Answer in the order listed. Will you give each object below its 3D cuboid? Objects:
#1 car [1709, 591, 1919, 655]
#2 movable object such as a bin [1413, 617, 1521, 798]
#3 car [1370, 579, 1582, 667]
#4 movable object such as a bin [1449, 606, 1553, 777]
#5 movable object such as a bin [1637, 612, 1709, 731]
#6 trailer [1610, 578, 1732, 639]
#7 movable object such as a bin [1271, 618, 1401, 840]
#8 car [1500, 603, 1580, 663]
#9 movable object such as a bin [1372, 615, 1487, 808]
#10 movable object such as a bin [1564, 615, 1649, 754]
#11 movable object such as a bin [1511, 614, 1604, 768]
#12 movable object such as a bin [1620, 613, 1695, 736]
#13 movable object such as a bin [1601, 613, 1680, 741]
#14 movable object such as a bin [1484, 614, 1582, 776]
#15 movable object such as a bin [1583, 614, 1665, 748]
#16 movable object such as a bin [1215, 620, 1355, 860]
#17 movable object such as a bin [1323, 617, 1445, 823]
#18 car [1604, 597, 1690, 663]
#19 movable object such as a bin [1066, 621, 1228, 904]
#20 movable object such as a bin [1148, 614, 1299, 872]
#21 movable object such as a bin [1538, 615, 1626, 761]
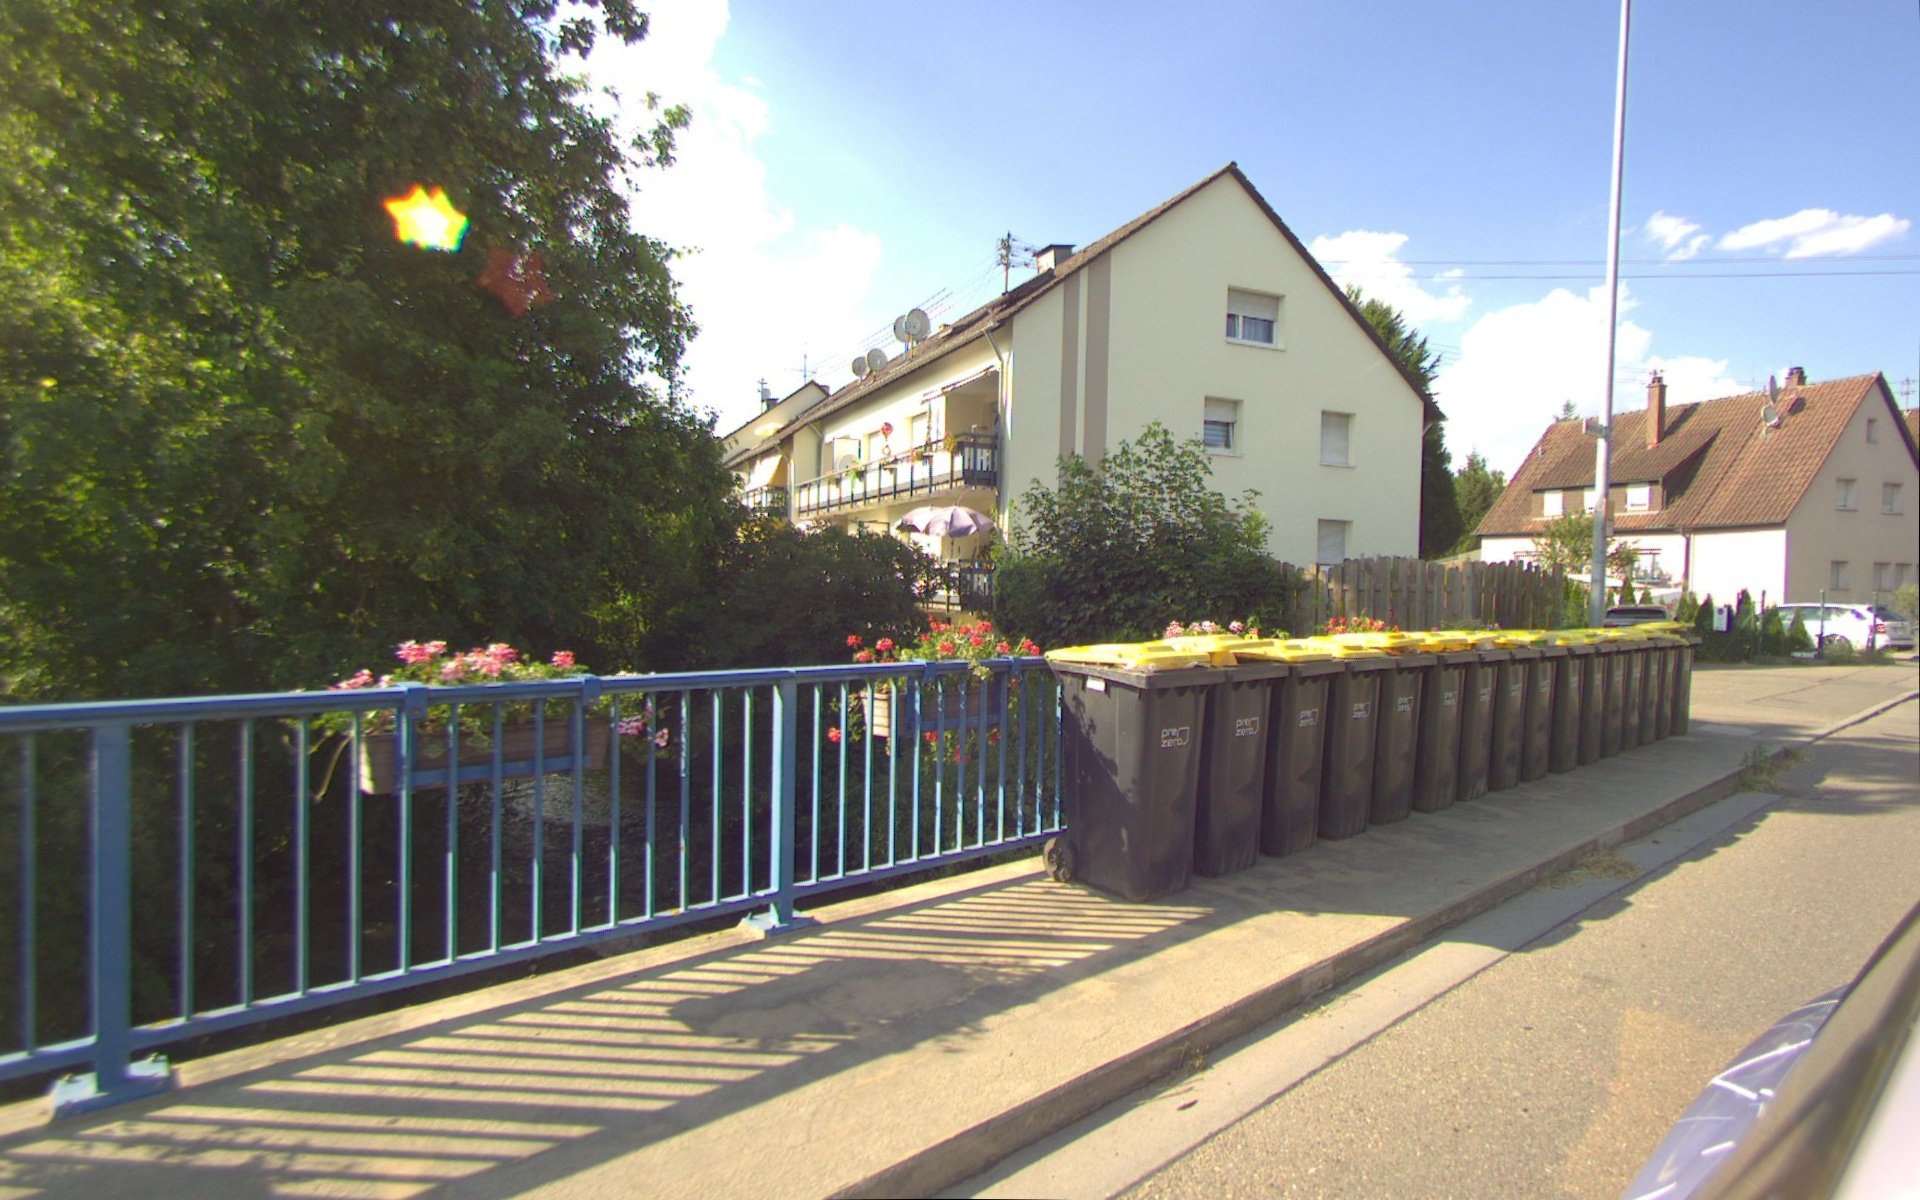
[{"bbox_3d":[23.060,0.550,27.193,1.694,1.476,4.488,0,1,-22],"label":"car"},{"bbox_3d":[3.491,0.709,6.972,0.529,1.157,0.479,0,1,-42],"label":"movable object such as a bin"},{"bbox_3d":[11.772,0.433,23.430,1.730,1.809,4.223,0,1,-23],"label":"car"},{"bbox_3d":[3.938,0.635,7.366,0.555,1.157,0.479,0,1,-42],"label":"movable object such as a bin"},{"bbox_3d":[7.364,0.719,10.454,0.529,1.157,0.479,0,1,-42],"label":"movable object such as a bin"},{"bbox_3d":[22.290,0.263,31.756,3.149,1.774,1.529,1,1,-19],"label":"trailer"},{"bbox_3d":[2.143,0.697,5.768,0.529,1.157,0.479,0,1,-42],"label":"movable object such as a bin"},{"bbox_3d":[16.997,0.905,29.598,1.753,1.564,3.632,0,0,34],"label":"car"},{"bbox_3d":[3.047,0.690,6.562,0.529,1.157,0.479,0,1,-42],"label":"movable object such as a bin"},{"bbox_3d":[5.705,0.721,8.929,0.529,1.157,0.479,0,1,-42],"label":"movable object such as a bin"},{"bbox_3d":[4.812,0.704,8.149,0.529,1.157,0.479,0,1,-42],"label":"movable object such as a bin"},{"bbox_3d":[6.956,0.721,10.095,0.529,1.157,0.479,0,1,-42],"label":"movable object such as a bin"},{"bbox_3d":[6.536,0.716,9.719,0.533,1.157,0.479,0,1,-42],"label":"movable object such as a bin"},{"bbox_3d":[4.393,0.700,7.763,0.529,1.157,0.479,0,1,-42],"label":"movable object such as a bin"},{"bbox_3d":[6.115,0.725,9.318,0.529,1.157,0.479,0,1,-42],"label":"movable object such as a bin"},{"bbox_3d":[1.724,0.700,5.364,0.529,1.157,0.479,0,1,-42],"label":"movable object such as a bin"},{"bbox_3d":[2.588,0.696,6.177,0.529,1.157,0.479,0,1,-42],"label":"movable object such as a bin"},{"bbox_3d":[17.995,0.725,26.436,1.689,1.538,4.221,-2,0,36],"label":"car"},{"bbox_3d":[0.849,0.691,4.610,0.529,1.157,0.479,0,1,-42],"label":"movable object such as a bin"},{"bbox_3d":[1.295,0.659,4.981,0.529,1.157,0.479,0,1,-42],"label":"movable object such as a bin"},{"bbox_3d":[5.246,0.716,8.537,0.529,1.157,0.479,0,1,-42],"label":"movable object such as a bin"}]
